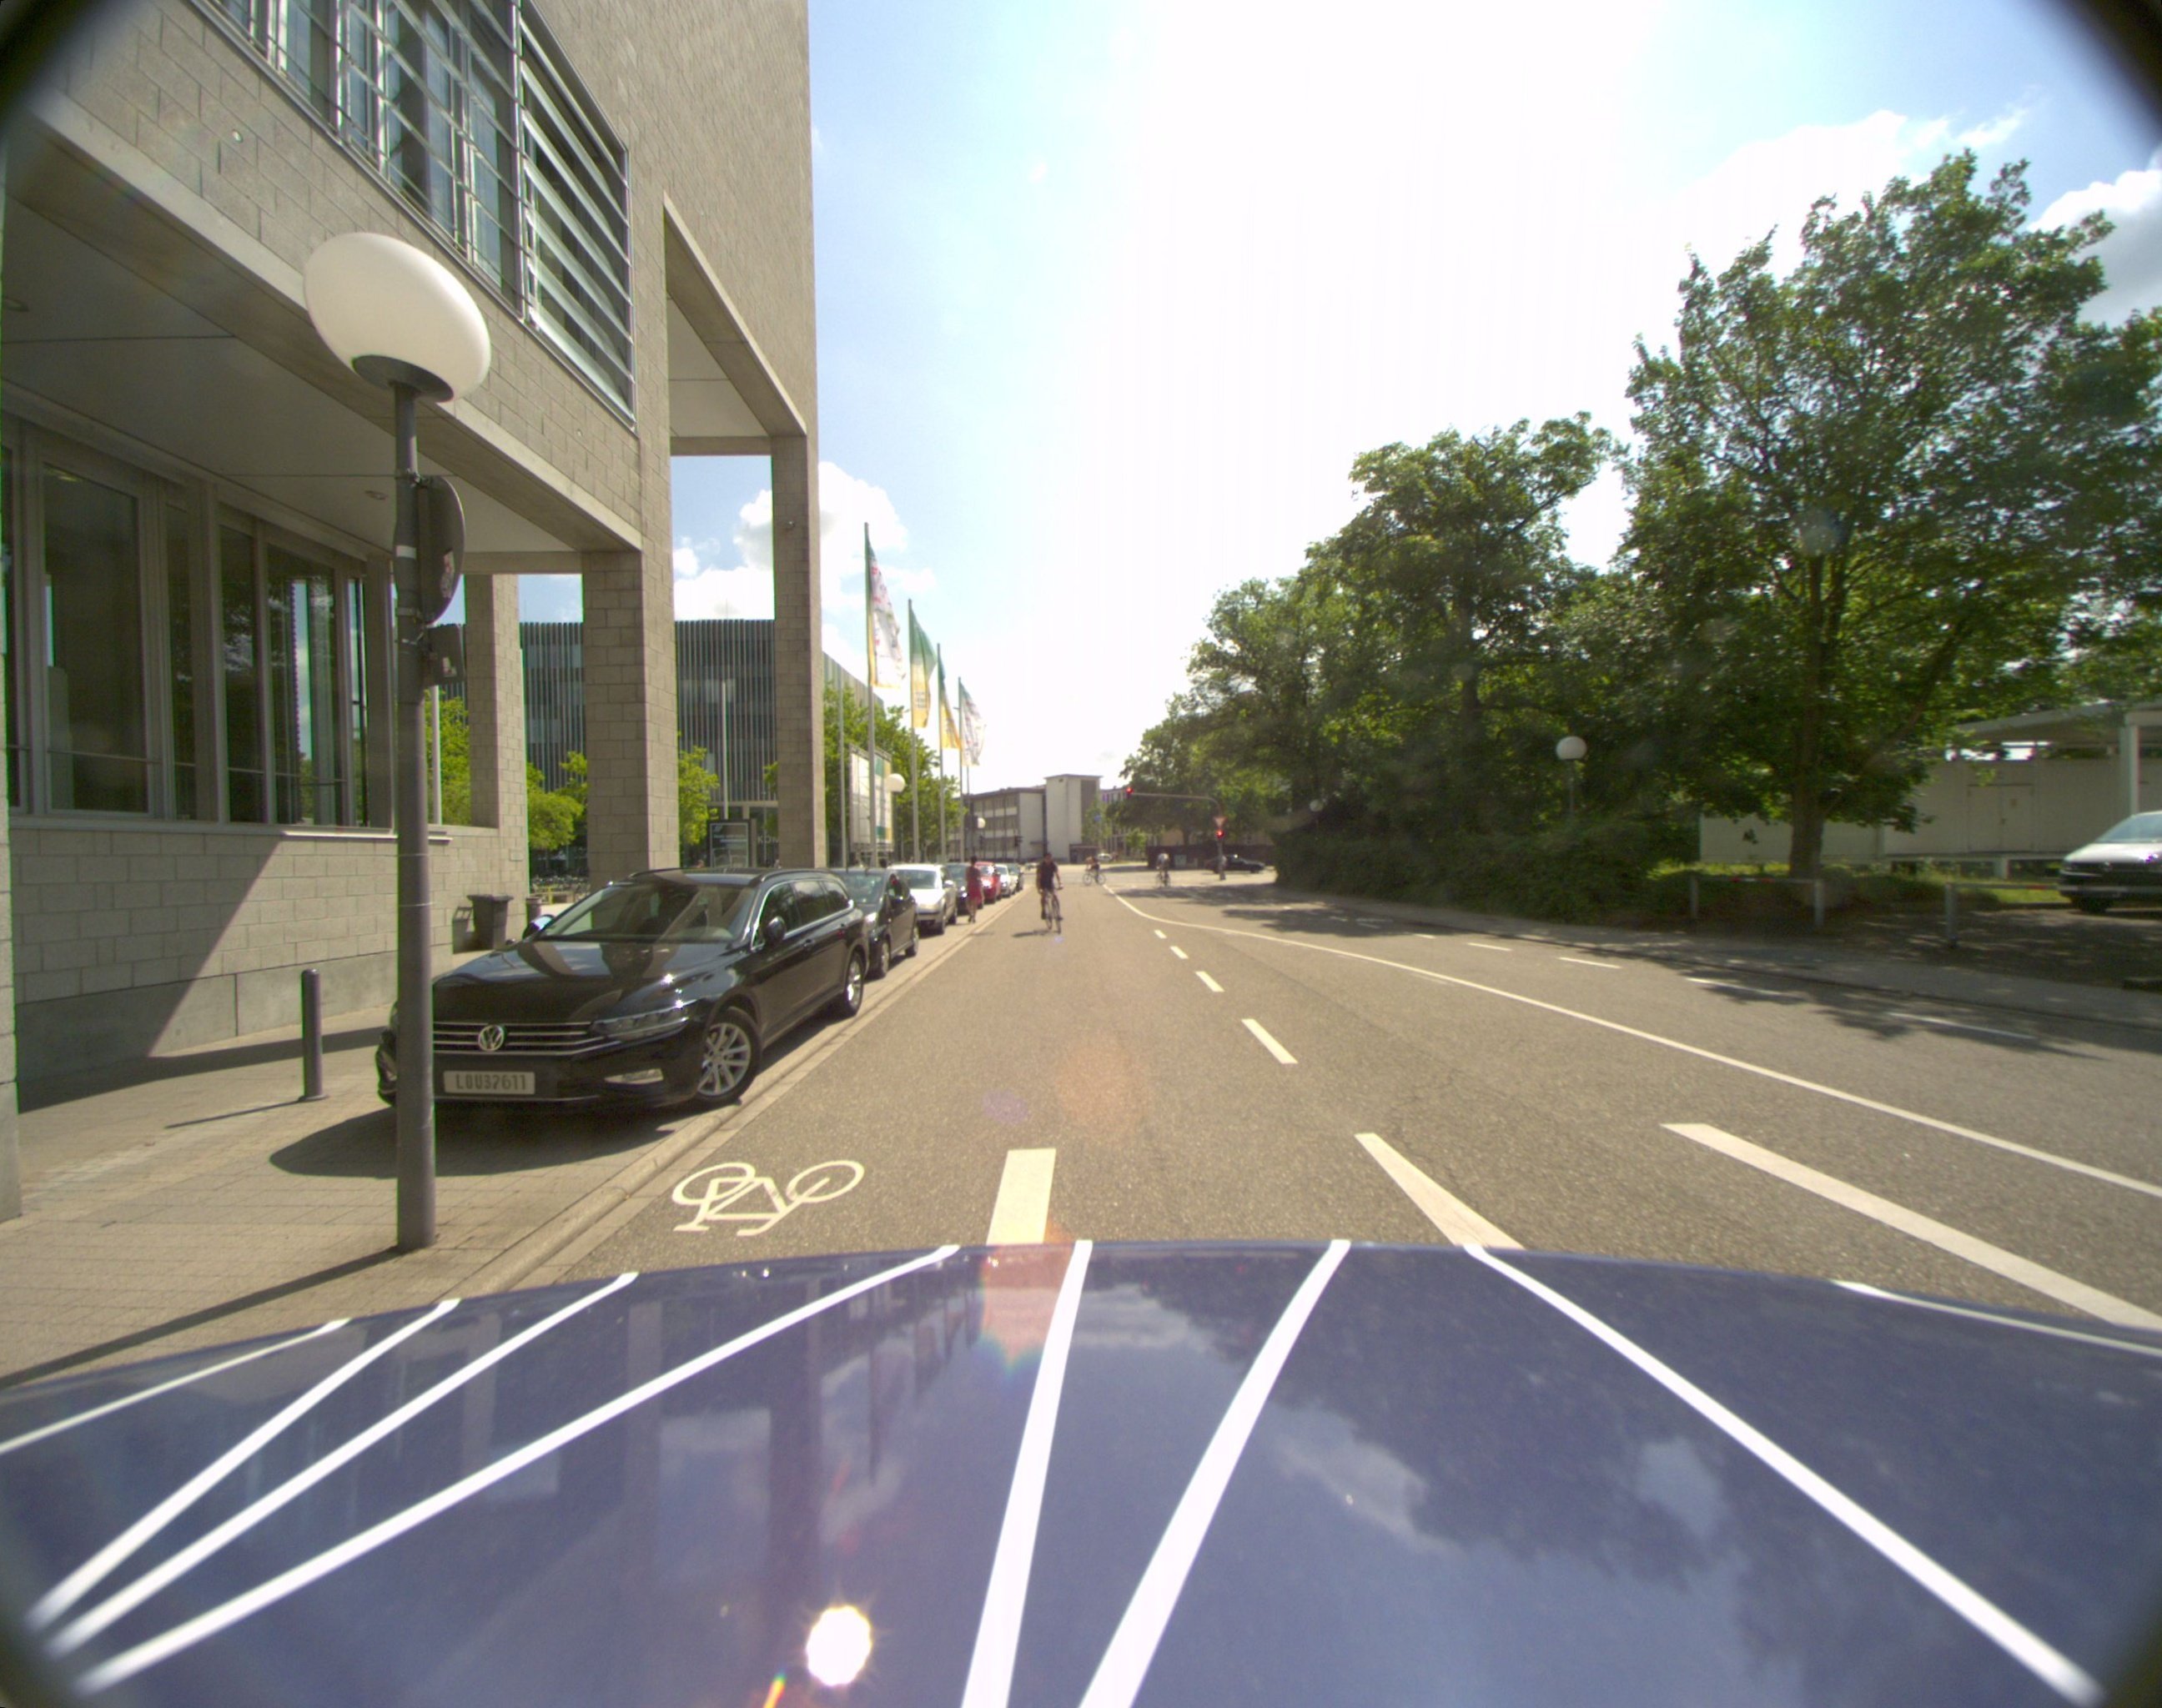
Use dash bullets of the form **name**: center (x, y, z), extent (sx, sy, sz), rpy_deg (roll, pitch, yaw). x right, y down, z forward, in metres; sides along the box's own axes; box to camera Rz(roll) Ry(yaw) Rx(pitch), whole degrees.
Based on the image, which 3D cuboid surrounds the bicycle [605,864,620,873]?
- **bicycle**: center (-51.932, 1.568, 84.185), extent (0.373, 0.950, 1.547), rpy_deg (0, 2, 14)

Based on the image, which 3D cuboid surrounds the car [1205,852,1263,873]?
- **car**: center (11.727, 0.647, 58.362), extent (4.186, 1.408, 1.831), rpy_deg (-2, 1, 6)

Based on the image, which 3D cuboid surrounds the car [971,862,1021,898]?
- **car**: center (-3.676, 1.095, 33.474), extent (1.723, 1.392, 4.438), rpy_deg (1, 0, -1)

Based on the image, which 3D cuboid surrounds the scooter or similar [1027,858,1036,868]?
- **scooter or similar**: center (-5.199, 0.955, 79.801), extent (0.403, 1.060, 1.148), rpy_deg (-2, 1, -28)

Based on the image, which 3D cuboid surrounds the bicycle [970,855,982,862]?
- **bicycle**: center (-16.742, 0.733, 121.028), extent (1.776, 0.950, 0.527), rpy_deg (-1, 3, -29)

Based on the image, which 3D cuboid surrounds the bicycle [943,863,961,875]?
- **bicycle**: center (-12.699, 1.493, 74.792), extent (1.673, 1.118, 0.693), rpy_deg (-2, 1, -29)

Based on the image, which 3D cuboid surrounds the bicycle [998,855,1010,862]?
- **bicycle**: center (-11.564, 0.650, 114.400), extent (1.776, 0.950, 0.527), rpy_deg (-1, 3, -29)

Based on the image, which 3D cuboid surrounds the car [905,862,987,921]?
- **car**: center (-3.899, 1.032, 22.531), extent (1.723, 1.520, 3.999), rpy_deg (-1, 0, 0)

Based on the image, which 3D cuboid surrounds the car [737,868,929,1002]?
- **car**: center (-3.383, 1.008, 11.157), extent (1.618, 1.488, 4.005), rpy_deg (-1, 0, -2)

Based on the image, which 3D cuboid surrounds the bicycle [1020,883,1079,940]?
- **bicycle**: center (-0.721, 1.208, 16.569), extent (0.904, 1.072, 2.152), rpy_deg (-1, 0, -13)

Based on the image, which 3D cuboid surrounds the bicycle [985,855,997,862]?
- **bicycle**: center (-13.926, 0.690, 117.168), extent (1.776, 0.950, 0.527), rpy_deg (-1, 3, -29)

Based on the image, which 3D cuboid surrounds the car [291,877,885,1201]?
- **car**: center (-3.075, 1.006, 6.121), extent (1.871, 1.456, 4.519), rpy_deg (-1, 0, -1)

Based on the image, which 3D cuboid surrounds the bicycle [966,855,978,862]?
- **bicycle**: center (-17.536, 0.720, 122.334), extent (1.776, 0.950, 0.527), rpy_deg (-1, 3, -29)

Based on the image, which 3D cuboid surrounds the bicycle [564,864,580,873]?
- **bicycle**: center (-56.105, 1.595, 83.812), extent (0.373, 0.950, 1.547), rpy_deg (0, 2, 14)

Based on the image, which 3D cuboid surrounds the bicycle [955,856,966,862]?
- **bicycle**: center (-20.012, 0.798, 125.982), extent (1.776, 0.950, 0.527), rpy_deg (-1, 3, -29)

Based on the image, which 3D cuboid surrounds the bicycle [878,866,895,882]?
- **bicycle**: center (-13.576, 1.431, 53.056), extent (0.818, 1.066, 1.891), rpy_deg (0, -3, -5)

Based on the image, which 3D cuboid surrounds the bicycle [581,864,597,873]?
- **bicycle**: center (-54.284, 1.589, 83.825), extent (0.373, 0.950, 1.547), rpy_deg (0, 2, 14)

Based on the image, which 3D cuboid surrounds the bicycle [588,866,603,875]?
- **bicycle**: center (-53.717, 1.835, 84.093), extent (0.373, 0.950, 1.547), rpy_deg (0, 2, 14)

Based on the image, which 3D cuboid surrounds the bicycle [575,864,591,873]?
- **bicycle**: center (-54.936, 1.598, 83.833), extent (0.373, 0.950, 1.547), rpy_deg (0, 2, 14)

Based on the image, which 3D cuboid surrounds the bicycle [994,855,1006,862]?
- **bicycle**: center (-12.337, 0.664, 115.475), extent (1.776, 0.950, 0.527), rpy_deg (-1, 3, -29)

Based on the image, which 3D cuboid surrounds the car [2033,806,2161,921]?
- **car**: center (21.080, 0.094, 13.814), extent (4.932, 1.975, 2.000), rpy_deg (-1, 2, 1)

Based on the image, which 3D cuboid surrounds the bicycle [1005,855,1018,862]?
- **bicycle**: center (-10.296, 0.609, 112.345), extent (1.776, 0.950, 0.527), rpy_deg (-1, 3, -29)

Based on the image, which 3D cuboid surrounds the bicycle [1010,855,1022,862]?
- **bicycle**: center (-9.556, 0.632, 111.413), extent (1.776, 0.950, 0.528), rpy_deg (-1, 3, -26)

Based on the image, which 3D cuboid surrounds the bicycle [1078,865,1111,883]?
- **bicycle**: center (0.781, 1.162, 44.635), extent (0.797, 0.983, 2.204), rpy_deg (-1, 1, -33)

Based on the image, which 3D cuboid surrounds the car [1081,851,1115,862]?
- **car**: center (2.427, 0.343, 107.510), extent (4.501, 1.299, 1.994), rpy_deg (-2, 3, -32)

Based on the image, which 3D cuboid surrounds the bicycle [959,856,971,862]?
- **bicycle**: center (-18.963, 0.773, 124.370), extent (1.776, 0.950, 0.527), rpy_deg (-1, 3, -29)

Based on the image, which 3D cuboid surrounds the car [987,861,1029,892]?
- **car**: center (-3.715, 1.113, 39.467), extent (1.723, 1.392, 4.948), rpy_deg (1, 0, -1)

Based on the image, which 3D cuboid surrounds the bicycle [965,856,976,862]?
- **bicycle**: center (-17.867, 0.742, 122.903), extent (1.776, 0.950, 0.527), rpy_deg (-1, 3, -29)

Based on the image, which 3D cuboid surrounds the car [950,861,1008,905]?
- **car**: center (-3.756, 1.031, 28.624), extent (1.618, 1.488, 4.147), rpy_deg (1, 0, 0)

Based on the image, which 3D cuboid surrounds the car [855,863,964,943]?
- **car**: center (-3.713, 0.993, 17.214), extent (1.724, 1.520, 4.564), rpy_deg (1, 0, -4)

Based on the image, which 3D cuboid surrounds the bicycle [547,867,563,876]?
- **bicycle**: center (-58.099, 1.899, 83.985), extent (0.373, 0.950, 1.547), rpy_deg (0, 2, 14)
